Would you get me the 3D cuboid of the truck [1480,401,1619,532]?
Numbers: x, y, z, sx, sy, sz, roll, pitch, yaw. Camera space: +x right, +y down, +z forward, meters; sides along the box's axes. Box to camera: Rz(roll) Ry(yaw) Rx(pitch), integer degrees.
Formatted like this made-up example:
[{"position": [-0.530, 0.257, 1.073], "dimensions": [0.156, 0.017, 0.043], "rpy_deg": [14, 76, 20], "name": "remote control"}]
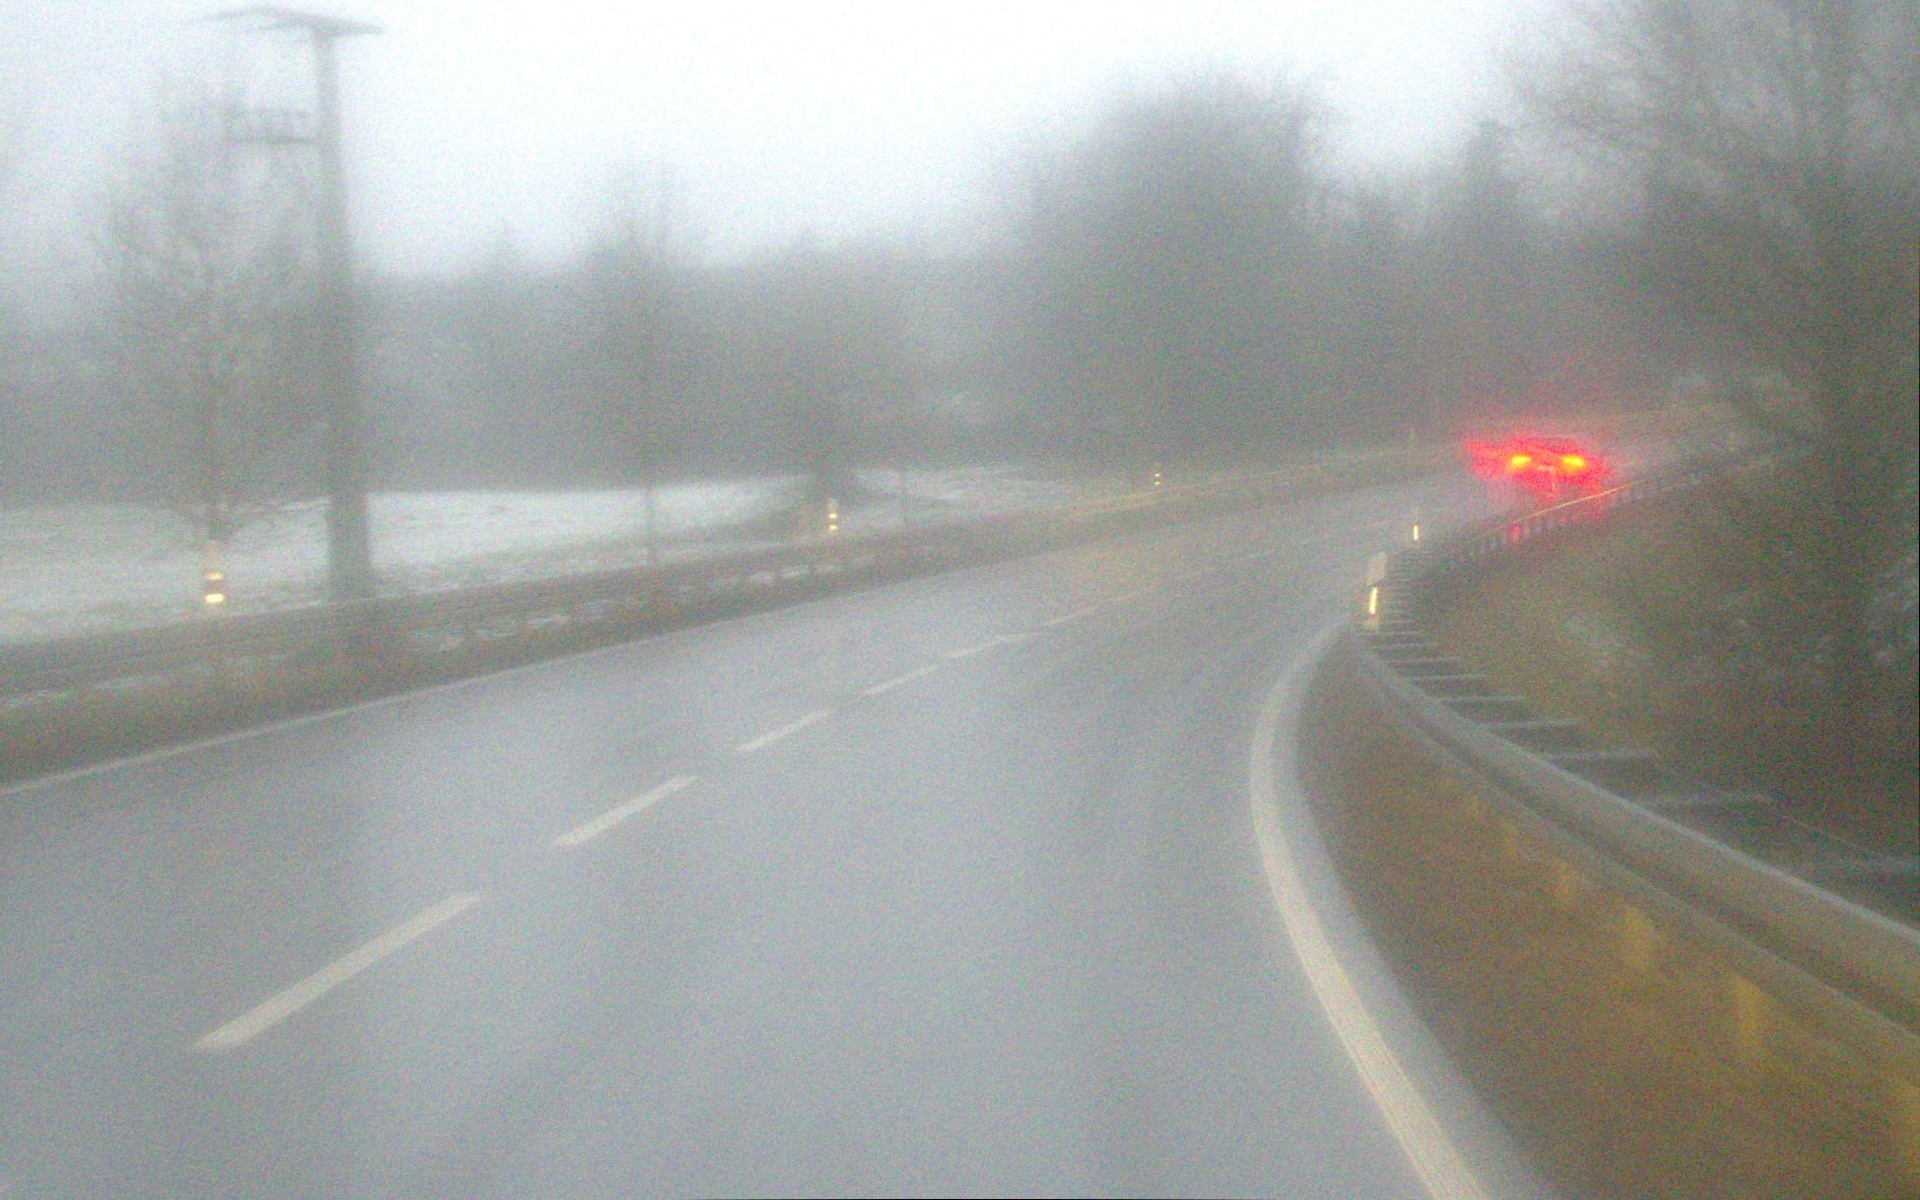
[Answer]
[{"position": [14.411, -3.295, 83.728], "dimensions": [2.534, 2.858, 5.919], "rpy_deg": [-1, 4, 17], "name": "truck"}]
